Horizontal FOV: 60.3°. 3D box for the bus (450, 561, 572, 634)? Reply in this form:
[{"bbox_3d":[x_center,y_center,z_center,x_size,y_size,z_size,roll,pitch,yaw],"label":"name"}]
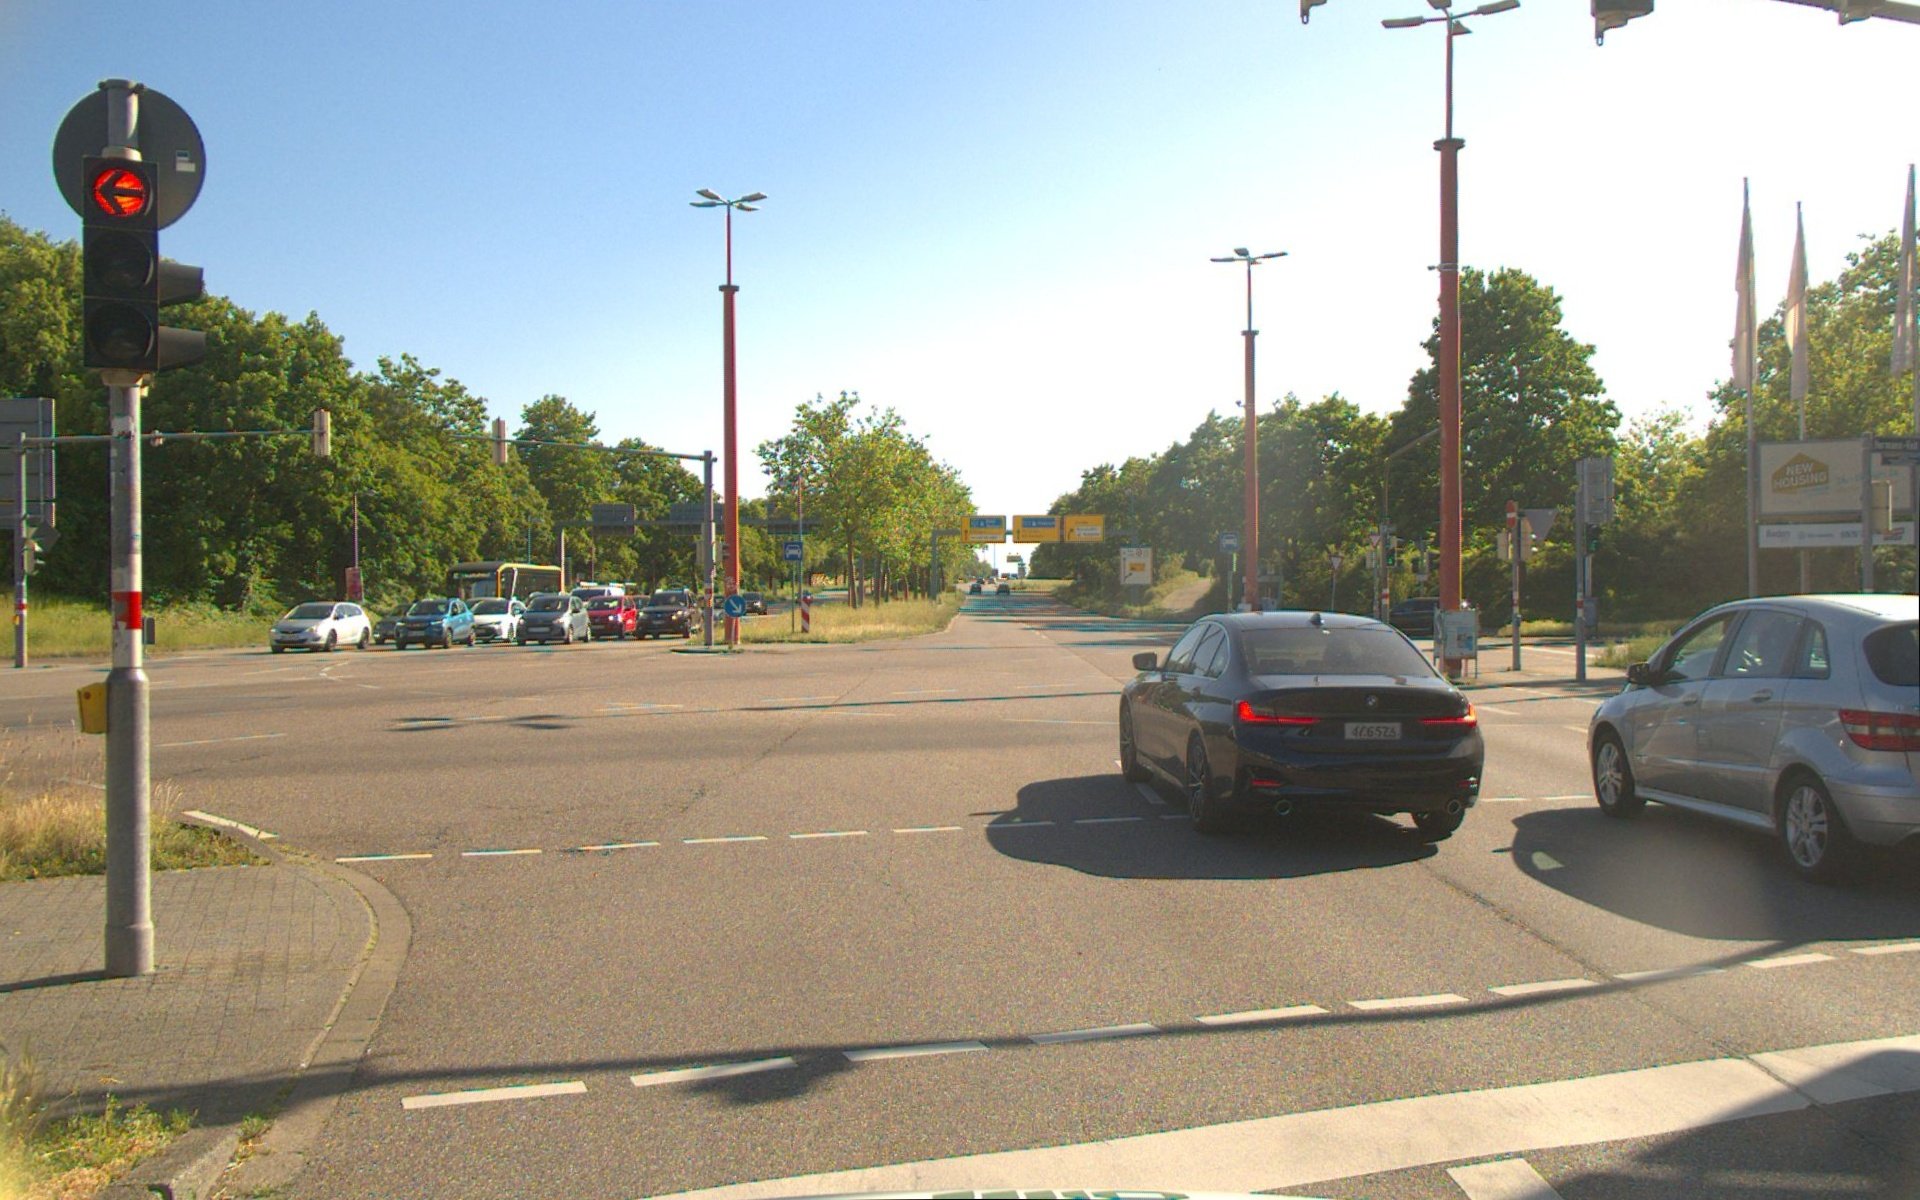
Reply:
[{"bbox_3d":[-22.269,-0.082,82.933,2.591,3.318,12.535,1,0,0],"label":"bus"}]

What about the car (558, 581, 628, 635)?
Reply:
[{"bbox_3d":[-15.622,0.332,70.585,1.922,2.193,5.080,-1,0,-1],"label":"car"}]

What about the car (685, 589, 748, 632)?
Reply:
[{"bbox_3d":[-9.352,0.376,63.695,1.847,1.570,3.999,-2,0,-1],"label":"car"}]

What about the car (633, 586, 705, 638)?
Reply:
[{"bbox_3d":[-9.841,0.386,56.209,1.757,1.654,4.142,-2,0,-2],"label":"car"}]

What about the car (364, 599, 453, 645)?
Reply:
[{"bbox_3d":[-19.890,0.775,59.792,1.846,1.539,4.000,-1,0,0],"label":"car"}]

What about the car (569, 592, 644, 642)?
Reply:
[{"bbox_3d":[-12.448,0.584,58.429,1.838,1.579,3.998,-3,0,-2],"label":"car"}]

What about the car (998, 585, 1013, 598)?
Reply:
[{"bbox_3d":[6.406,-1.197,234.569,1.953,1.764,3.999,1,0,-1],"label":"car"}]

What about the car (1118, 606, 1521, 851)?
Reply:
[{"bbox_3d":[2.396,0.795,12.176,1.729,1.466,4.291,1,0,-5],"label":"car"}]

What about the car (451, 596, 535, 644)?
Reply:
[{"bbox_3d":[-16.034,0.664,57.026,1.863,1.582,3.998,-1,0,-2],"label":"car"}]

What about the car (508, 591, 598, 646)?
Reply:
[{"bbox_3d":[-12.772,0.552,52.086,1.836,1.577,4.027,-2,1,-1],"label":"car"}]

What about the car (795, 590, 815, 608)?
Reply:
[{"bbox_3d":[-17.579,-0.145,187.827,1.881,2.034,4.602,0,0,-1],"label":"car"}]

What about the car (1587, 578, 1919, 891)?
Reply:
[{"bbox_3d":[5.607,0.725,10.595,1.681,1.636,3.846,1,0,-1],"label":"car"}]

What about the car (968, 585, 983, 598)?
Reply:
[{"bbox_3d":[2.202,-1.214,235.506,1.953,1.764,3.999,1,0,-1],"label":"car"}]

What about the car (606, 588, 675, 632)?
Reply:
[{"bbox_3d":[-12.407,0.368,64.429,1.862,1.658,4.000,0,0,1],"label":"car"}]

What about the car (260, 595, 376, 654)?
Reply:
[{"bbox_3d":[-19.545,0.737,50.539,1.838,1.681,4.219,-1,0,0],"label":"car"}]

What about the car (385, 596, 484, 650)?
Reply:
[{"bbox_3d":[-16.106,0.683,50.874,1.764,1.542,3.858,-2,0,0],"label":"car"}]

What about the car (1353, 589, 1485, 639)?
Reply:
[{"bbox_3d":[16.262,0.474,58.591,4.204,1.664,1.766,1,0,30],"label":"car"}]

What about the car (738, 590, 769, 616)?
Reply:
[{"bbox_3d":[-15.005,0.221,120.228,1.800,1.869,3.960,0,0,-1],"label":"car"}]
